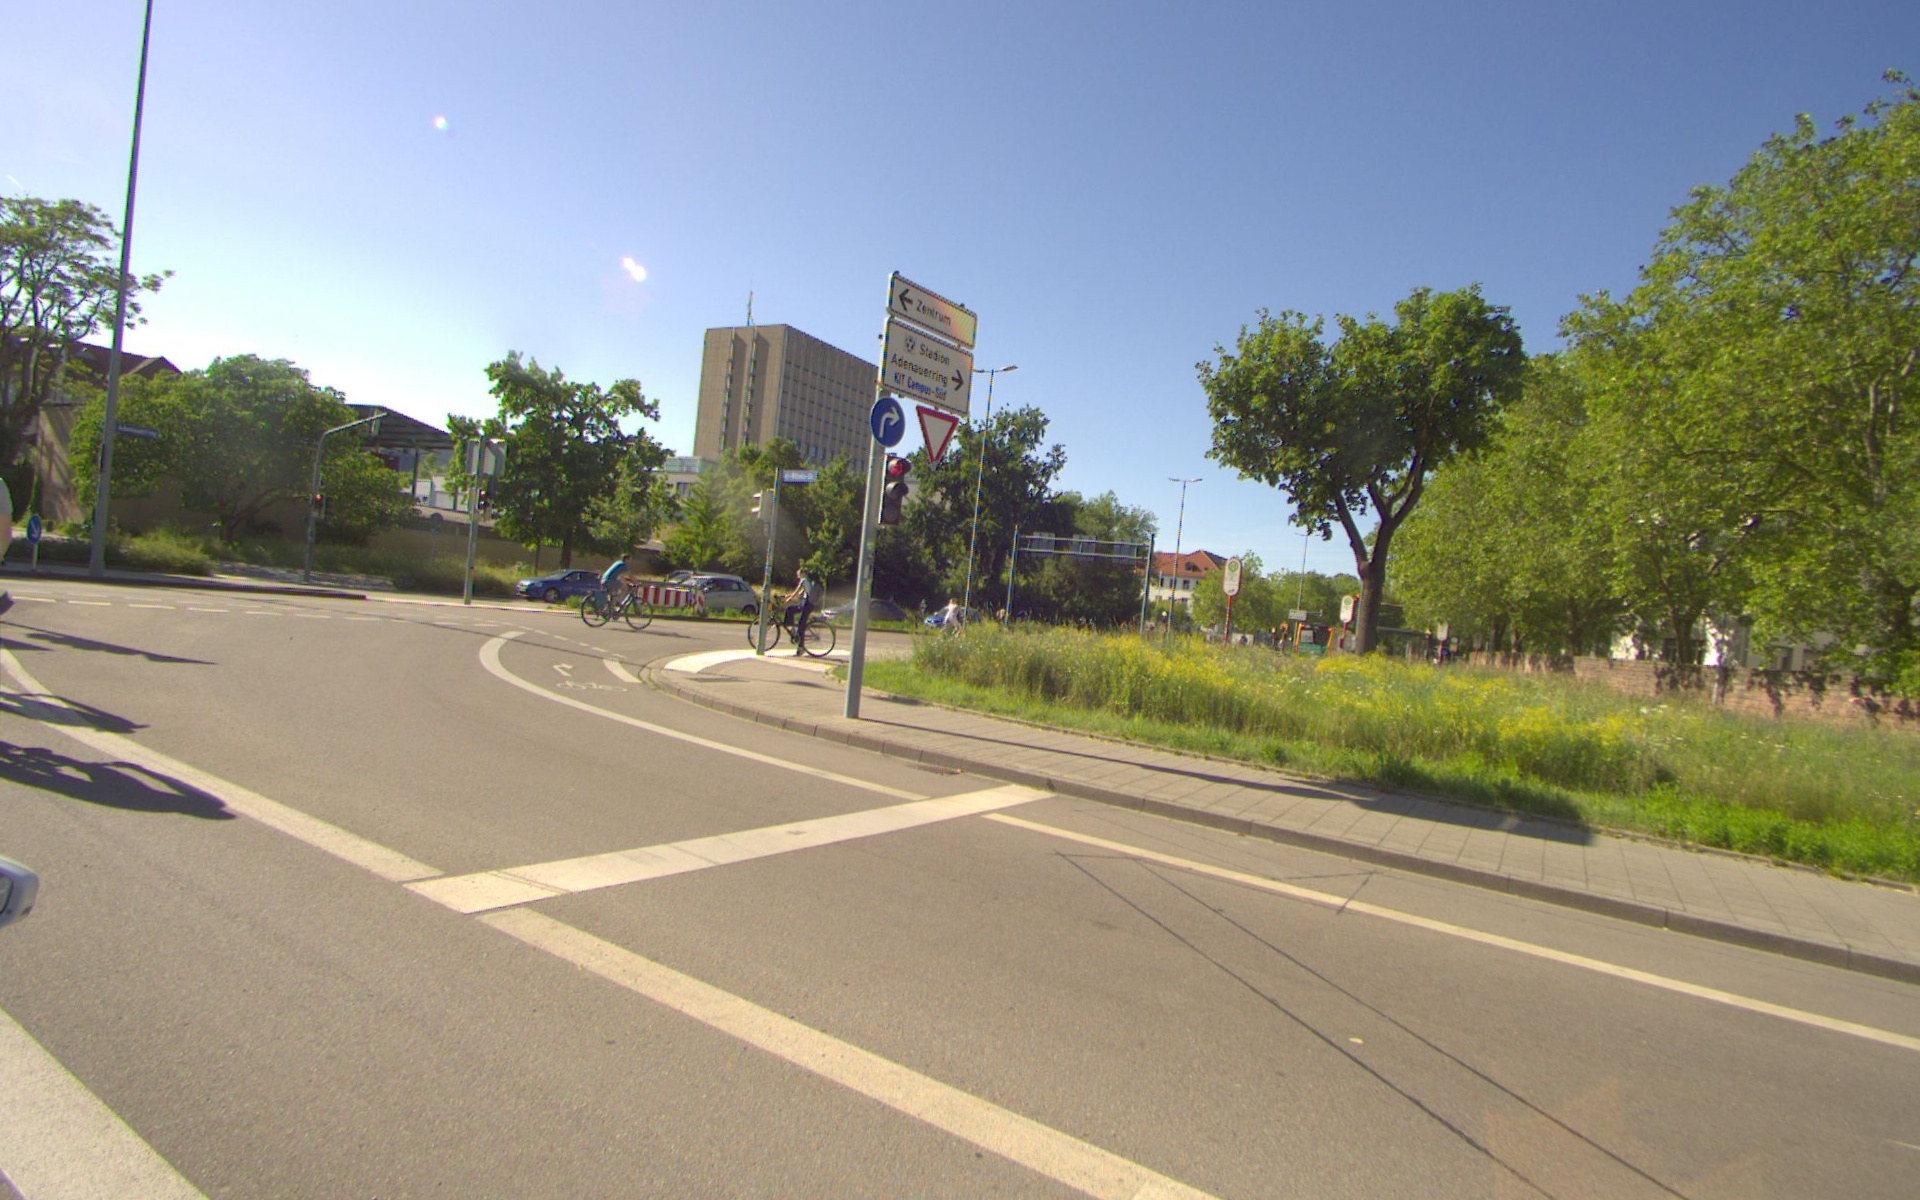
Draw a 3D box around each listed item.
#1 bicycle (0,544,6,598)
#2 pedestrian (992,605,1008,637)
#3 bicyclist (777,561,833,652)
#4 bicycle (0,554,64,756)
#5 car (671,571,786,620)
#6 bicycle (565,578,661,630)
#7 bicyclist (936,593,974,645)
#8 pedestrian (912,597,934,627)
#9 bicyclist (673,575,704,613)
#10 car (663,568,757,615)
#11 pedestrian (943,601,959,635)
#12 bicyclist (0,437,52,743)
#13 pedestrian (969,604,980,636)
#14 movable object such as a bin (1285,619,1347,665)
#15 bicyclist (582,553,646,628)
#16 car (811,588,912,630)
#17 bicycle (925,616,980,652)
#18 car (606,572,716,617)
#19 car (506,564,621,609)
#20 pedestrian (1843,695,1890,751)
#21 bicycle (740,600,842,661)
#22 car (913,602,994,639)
[{"bbox_3d":[-8.189,0.019,7.745,1.890,1.102,0.690,6,-1,32],"label":"bicycle"},{"bbox_3d":[3.183,1.643,80.052,0.710,2.451,0.585,6,-1,34],"label":"pedestrian"},{"bbox_3d":[-3.036,0.120,19.700,0.898,1.667,0.630,6,1,-9],"label":"bicyclist"},{"bbox_3d":[-6.266,0.234,6.076,1.890,1.102,0.690,6,-1,32],"label":"bicycle"},{"bbox_3d":[-8.739,-0.134,38.283,1.767,1.415,3.986,7,0,37],"label":"car"},{"bbox_3d":[-7.579,0.110,22.040,0.640,0.986,1.895,7,1,39],"label":"bicycle"},{"bbox_3d":[-0.155,0.602,31.464,0.509,1.548,1.067,7,2,39],"label":"bicyclist"},{"bbox_3d":[-2.684,0.905,73.159,0.752,2.039,1.267,7,1,36],"label":"pedestrian"},{"bbox_3d":[-10.661,-0.240,39.464,0.602,1.360,0.874,7,1,37],"label":"bicyclist"},{"bbox_3d":[-11.842,-0.370,47.790,1.767,1.771,3.986,7,0,37],"label":"car"},{"bbox_3d":[-0.678,1.350,76.701,0.660,2.451,0.770,6,-1,34],"label":"pedestrian"},{"bbox_3d":[-6.272,-0.117,6.114,1.123,1.813,0.684,7,0,32],"label":"bicyclist"},{"bbox_3d":[1.133,1.582,79.398,0.401,2.451,0.467,6,-1,34],"label":"pedestrian"},{"bbox_3d":[26.721,3.241,75.126,2.954,2.898,9.178,6,0,27],"label":"movable object such as a bin"},{"bbox_3d":[-7.565,-0.200,22.009,0.632,1.533,1.049,7,2,39],"label":"bicyclist"},{"bbox_3d":[-4.309,0.432,44.624,1.767,1.415,4.557,7,0,37],"label":"car"},{"bbox_3d":[-0.206,1.078,31.468,0.514,1.000,1.965,7,1,39],"label":"bicycle"},{"bbox_3d":[-12.299,-0.204,41.565,1.767,1.415,3.986,7,0,37],"label":"car"},{"bbox_3d":[-16.210,-0.530,41.312,1.767,1.415,3.986,7,0,37],"label":"car"},{"bbox_3d":[25.604,3.475,28.420,0.712,1.460,0.523,7,-1,2],"label":"pedestrian"},{"bbox_3d":[-3.290,0.587,19.672,1.856,0.970,0.635,7,1,-10],"label":"bicycle"},{"bbox_3d":[-0.294,1.047,50.451,1.916,1.415,3.986,6,0,37],"label":"car"}]
